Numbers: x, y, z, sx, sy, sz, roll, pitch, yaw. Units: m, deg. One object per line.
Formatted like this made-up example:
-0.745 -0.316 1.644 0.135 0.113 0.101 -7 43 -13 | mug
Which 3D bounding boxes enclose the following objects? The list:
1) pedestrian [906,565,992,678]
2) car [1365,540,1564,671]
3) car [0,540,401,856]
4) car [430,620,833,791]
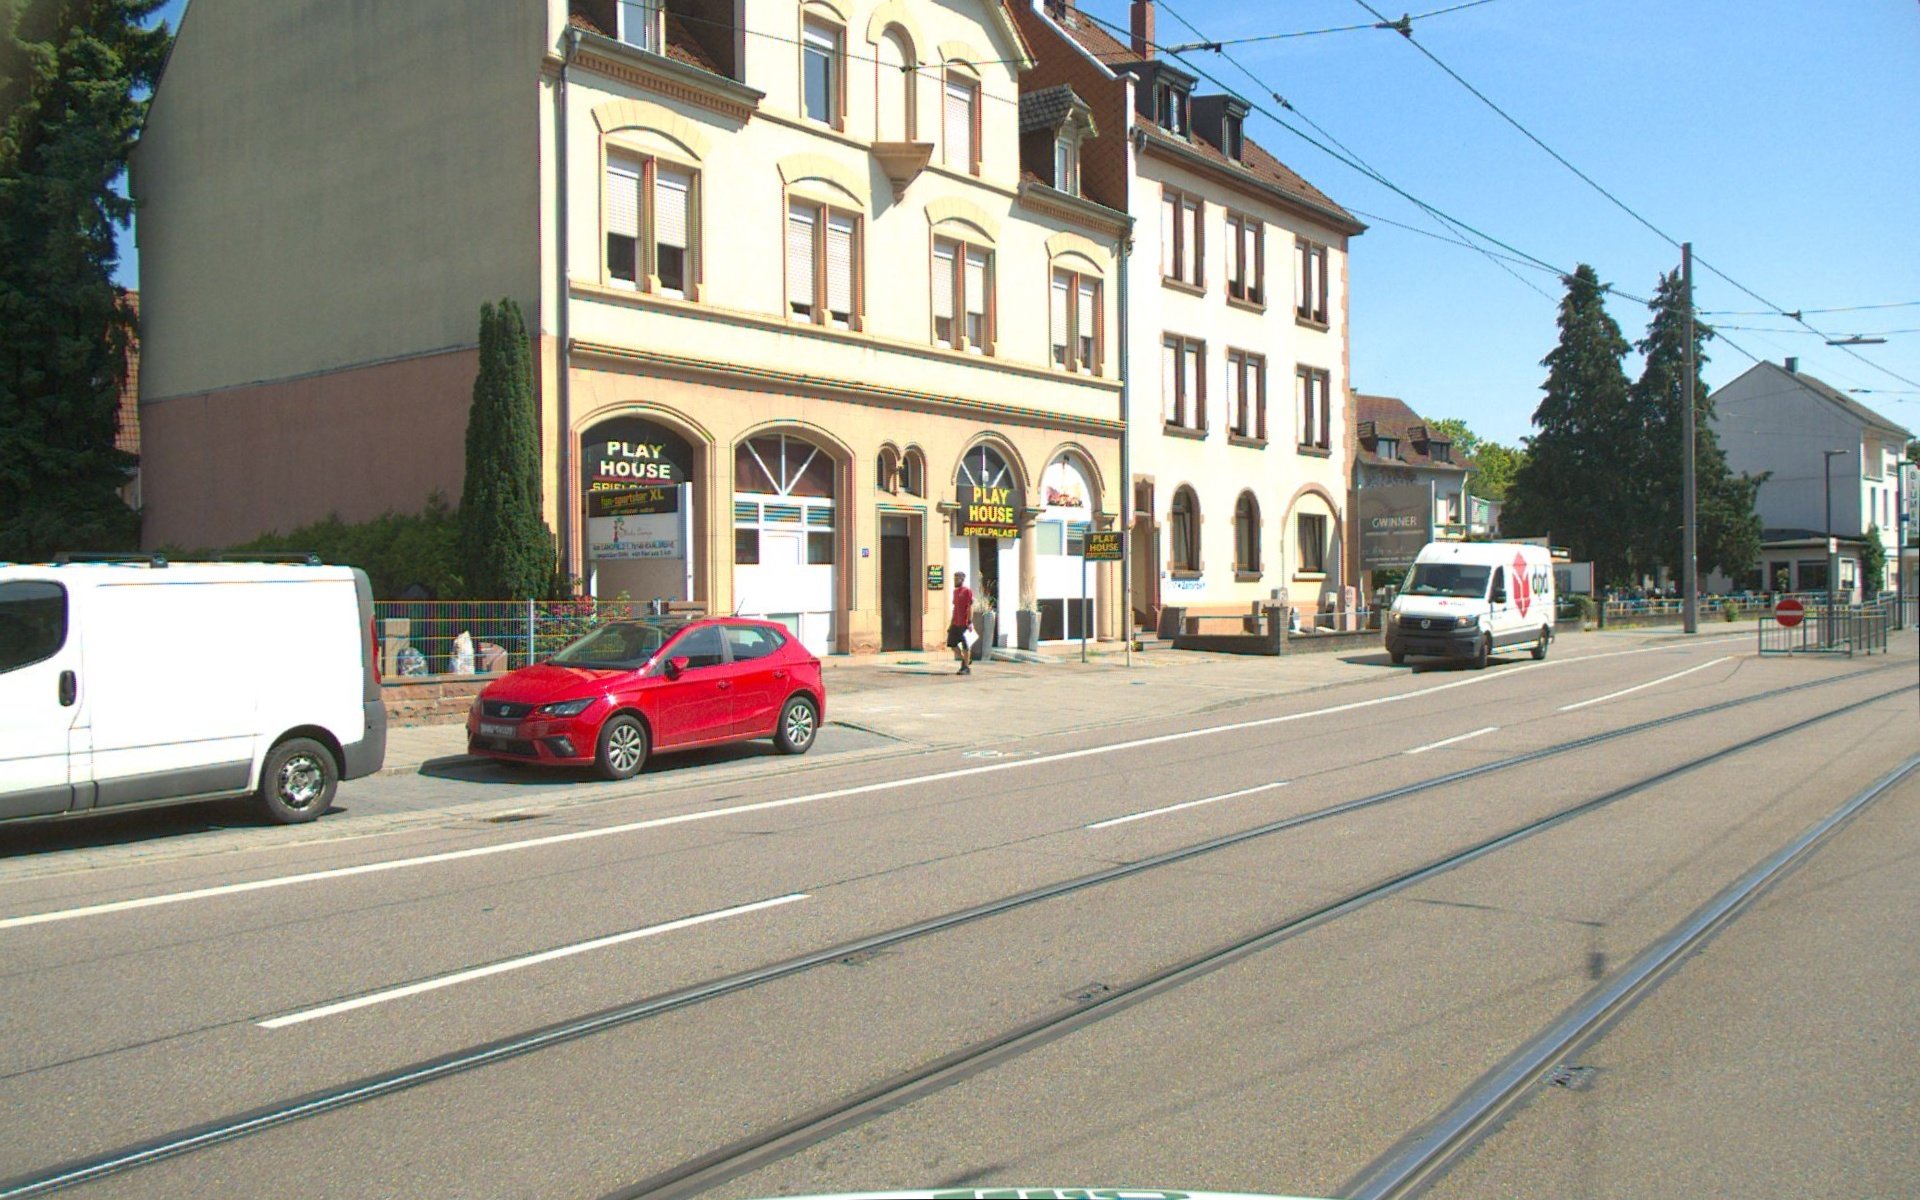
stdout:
-0.184 0.350 27.985 1.117 1.847 0.933 -1 0 -35 | pedestrian
11.122 0.055 36.046 2.289 2.579 6.485 1 1 34 | car
-6.698 0.629 11.806 2.048 2.049 4.891 0 0 35 | car
-3.187 0.969 16.779 1.690 1.431 3.989 -1 0 34 | car
